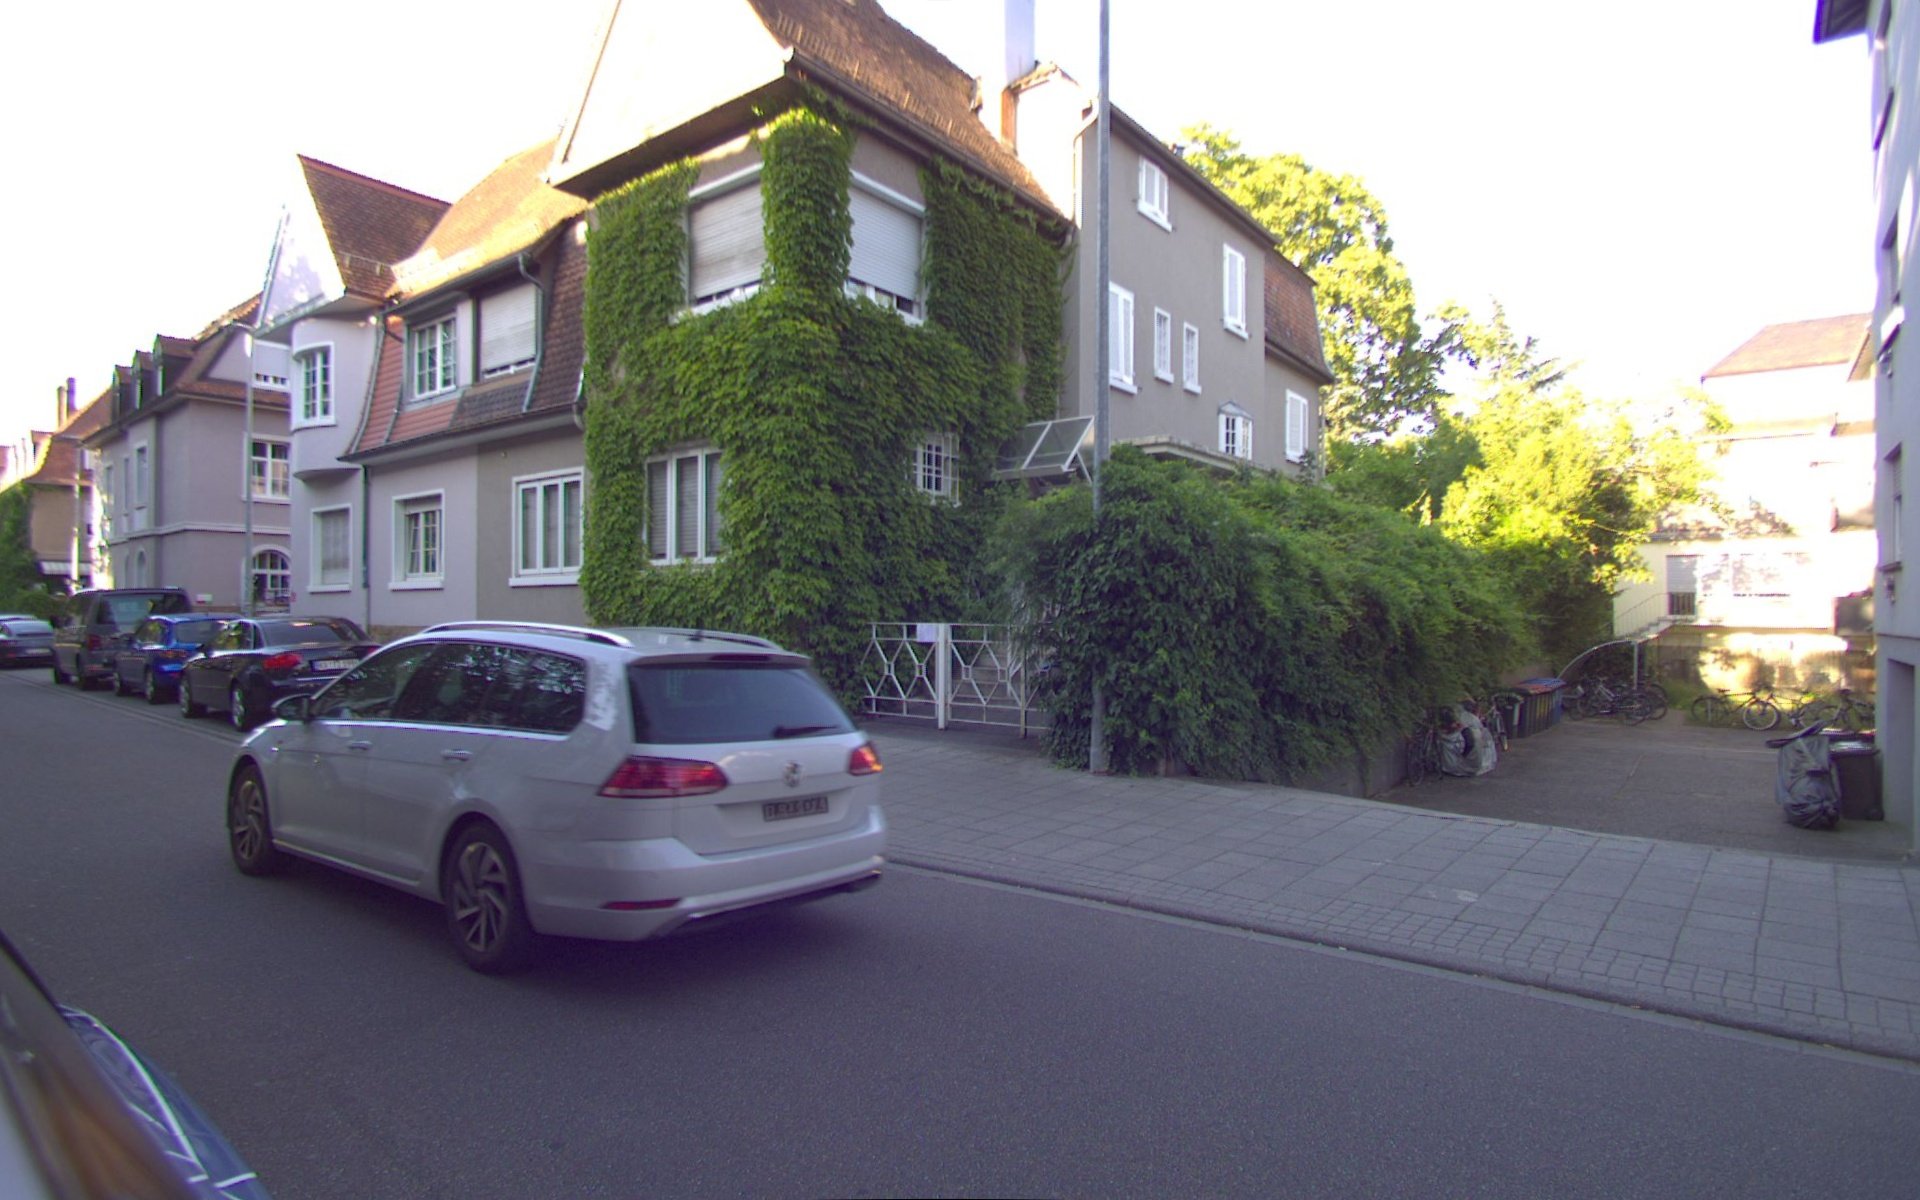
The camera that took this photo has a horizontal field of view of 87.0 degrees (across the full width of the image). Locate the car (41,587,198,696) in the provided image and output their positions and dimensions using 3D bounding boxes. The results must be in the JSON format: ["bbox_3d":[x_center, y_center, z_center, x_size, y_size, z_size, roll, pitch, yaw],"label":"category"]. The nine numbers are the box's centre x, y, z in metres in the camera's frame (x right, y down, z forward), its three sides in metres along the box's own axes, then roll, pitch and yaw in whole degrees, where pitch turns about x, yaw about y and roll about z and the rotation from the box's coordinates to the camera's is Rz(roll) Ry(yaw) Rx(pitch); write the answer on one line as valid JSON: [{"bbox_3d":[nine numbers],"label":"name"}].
[{"bbox_3d":[-17.422,0.774,20.911,4.308,1.987,1.698,0,2,40],"label":"car"}]

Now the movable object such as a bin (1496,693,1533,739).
[{"bbox_3d":[11.550,2.407,21.089,0.576,0.886,0.488,0,-3,41],"label":"movable object such as a bin"}]

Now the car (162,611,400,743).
[{"bbox_3d":[-9.395,0.926,13.881,4.023,1.439,1.729,0,2,42],"label":"car"}]

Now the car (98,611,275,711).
[{"bbox_3d":[-13.646,0.985,17.775,4.021,1.475,1.591,0,2,40],"label":"car"}]

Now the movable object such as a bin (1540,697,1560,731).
[{"bbox_3d":[13.792,2.659,23.653,0.346,0.764,0.359,-1,-4,41],"label":"movable object such as a bin"}]

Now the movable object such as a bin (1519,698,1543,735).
[{"bbox_3d":[12.507,2.551,22.153,0.398,0.779,0.359,-1,-4,41],"label":"movable object such as a bin"}]

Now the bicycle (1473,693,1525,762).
[{"bbox_3d":[9.964,2.322,18.665,0.514,1.027,1.914,1,0,38],"label":"bicycle"}]

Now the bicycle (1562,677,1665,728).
[{"bbox_3d":[16.281,2.529,25.251,2.068,1.028,0.634,1,3,41],"label":"bicycle"}]

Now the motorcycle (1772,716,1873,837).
[{"bbox_3d":[10.719,2.153,12.624,0.757,1.261,1.575,-1,-3,34],"label":"motorcycle"}]

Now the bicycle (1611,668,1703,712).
[{"bbox_3d":[19.425,2.488,28.235,2.068,1.028,0.561,1,3,41],"label":"bicycle"}]

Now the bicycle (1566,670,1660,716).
[{"bbox_3d":[17.706,2.510,27.465,2.068,1.028,0.608,1,3,41],"label":"bicycle"}]

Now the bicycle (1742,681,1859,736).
[{"bbox_3d":[19.591,2.505,23.638,2.068,1.028,0.634,1,3,41],"label":"bicycle"}]

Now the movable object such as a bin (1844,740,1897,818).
[{"bbox_3d":[11.767,2.300,13.091,0.432,0.894,0.717,-1,-3,37],"label":"movable object such as a bin"}]

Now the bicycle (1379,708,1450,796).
[{"bbox_3d":[6.811,2.233,15.125,0.514,1.027,1.914,1,0,38],"label":"bicycle"}]

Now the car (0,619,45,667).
[{"bbox_3d":[-30.244,1.335,31.912,3.942,1.381,1.522,-1,0,40],"label":"car"}]

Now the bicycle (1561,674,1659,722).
[{"bbox_3d":[16.846,2.521,26.263,2.068,1.028,0.565,1,3,41],"label":"bicycle"}]

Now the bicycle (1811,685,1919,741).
[{"bbox_3d":[20.539,2.528,22.795,2.068,1.028,0.634,1,3,41],"label":"bicycle"}]

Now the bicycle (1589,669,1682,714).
[{"bbox_3d":[18.624,2.498,27.931,2.068,1.028,0.608,1,3,41],"label":"bicycle"}]

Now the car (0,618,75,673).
[{"bbox_3d":[-26.381,1.233,28.377,4.331,1.381,1.698,-1,1,40],"label":"car"}]

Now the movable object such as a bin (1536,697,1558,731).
[{"bbox_3d":[13.543,2.628,23.348,0.367,0.764,0.359,-1,-4,41],"label":"movable object such as a bin"}]

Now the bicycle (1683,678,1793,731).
[{"bbox_3d":[18.723,2.497,24.385,2.068,1.028,0.634,1,3,41],"label":"bicycle"}]

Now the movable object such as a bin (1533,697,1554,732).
[{"bbox_3d":[13.291,2.612,23.051,0.367,0.764,0.359,-1,-4,41],"label":"movable object such as a bin"}]

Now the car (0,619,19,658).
[{"bbox_3d":[-36.517,1.445,37.673,3.942,1.381,1.698,-1,1,40],"label":"car"}]

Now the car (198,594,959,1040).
[{"bbox_3d":[-2.241,0.808,5.390,4.293,1.473,1.764,-2,-4,37],"label":"car"}]

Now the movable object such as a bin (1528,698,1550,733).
[{"bbox_3d":[13.029,2.594,22.758,0.375,0.764,0.359,-1,-4,41],"label":"movable object such as a bin"}]
